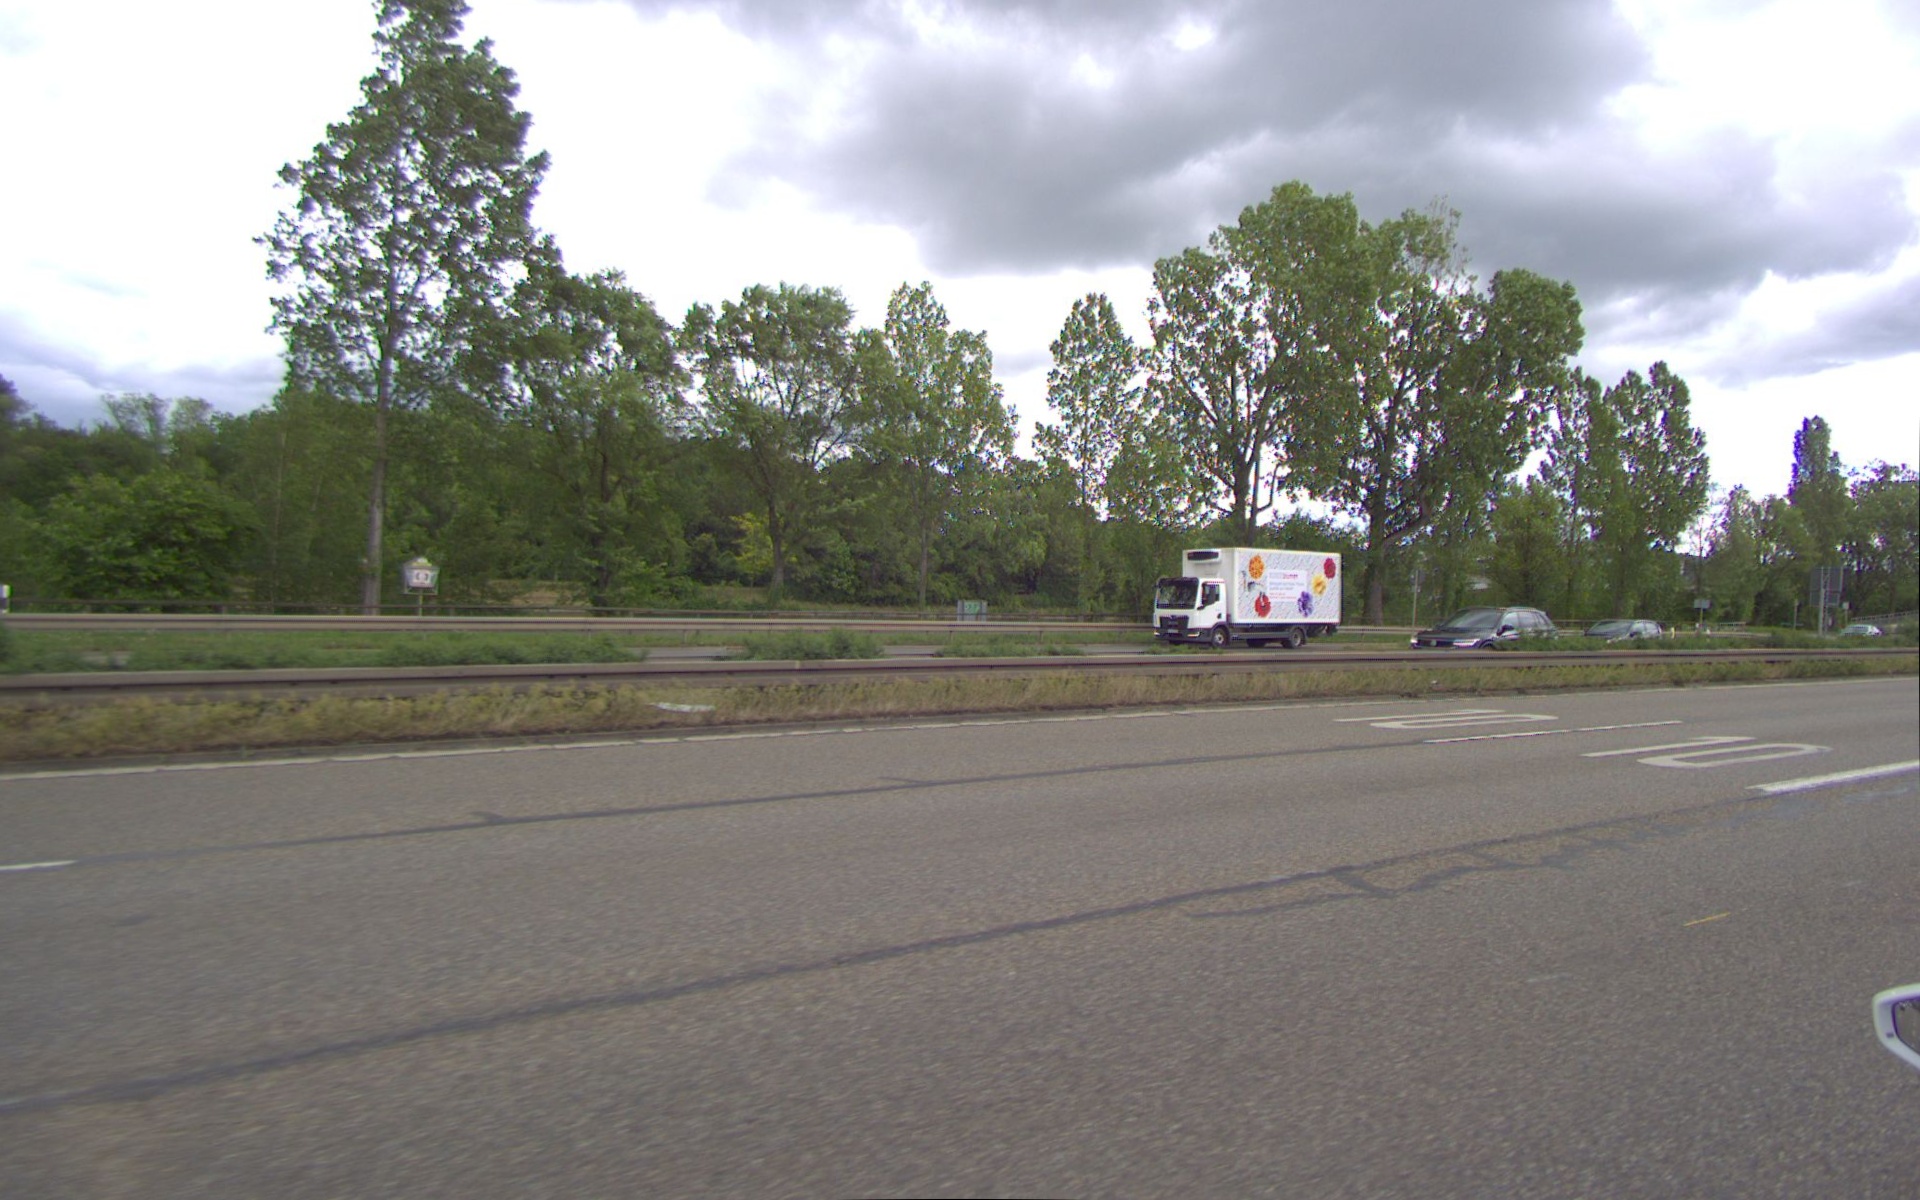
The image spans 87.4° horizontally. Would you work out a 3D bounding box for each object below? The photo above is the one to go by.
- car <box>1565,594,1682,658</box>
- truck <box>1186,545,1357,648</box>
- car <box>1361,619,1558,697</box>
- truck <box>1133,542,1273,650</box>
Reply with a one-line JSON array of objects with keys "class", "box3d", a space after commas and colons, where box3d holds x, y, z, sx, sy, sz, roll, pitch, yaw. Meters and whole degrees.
[{"class": "car", "box3d": [23.500, 0.894, 35.549, 3.958, 2.041, 1.981, 1, 3, -34]}, {"class": "truck", "box3d": [12.187, -0.153, 39.162, 6.272, 3.693, 2.963, 1, 3, -34]}, {"class": "car", "box3d": [12.459, 1.404, 24.940, 5.466, 1.752, 1.836, 1, -4, -33]}, {"class": "truck", "box3d": [8.917, -0.189, 36.902, 3.959, 3.692, 2.965, 1, 3, -34]}]
